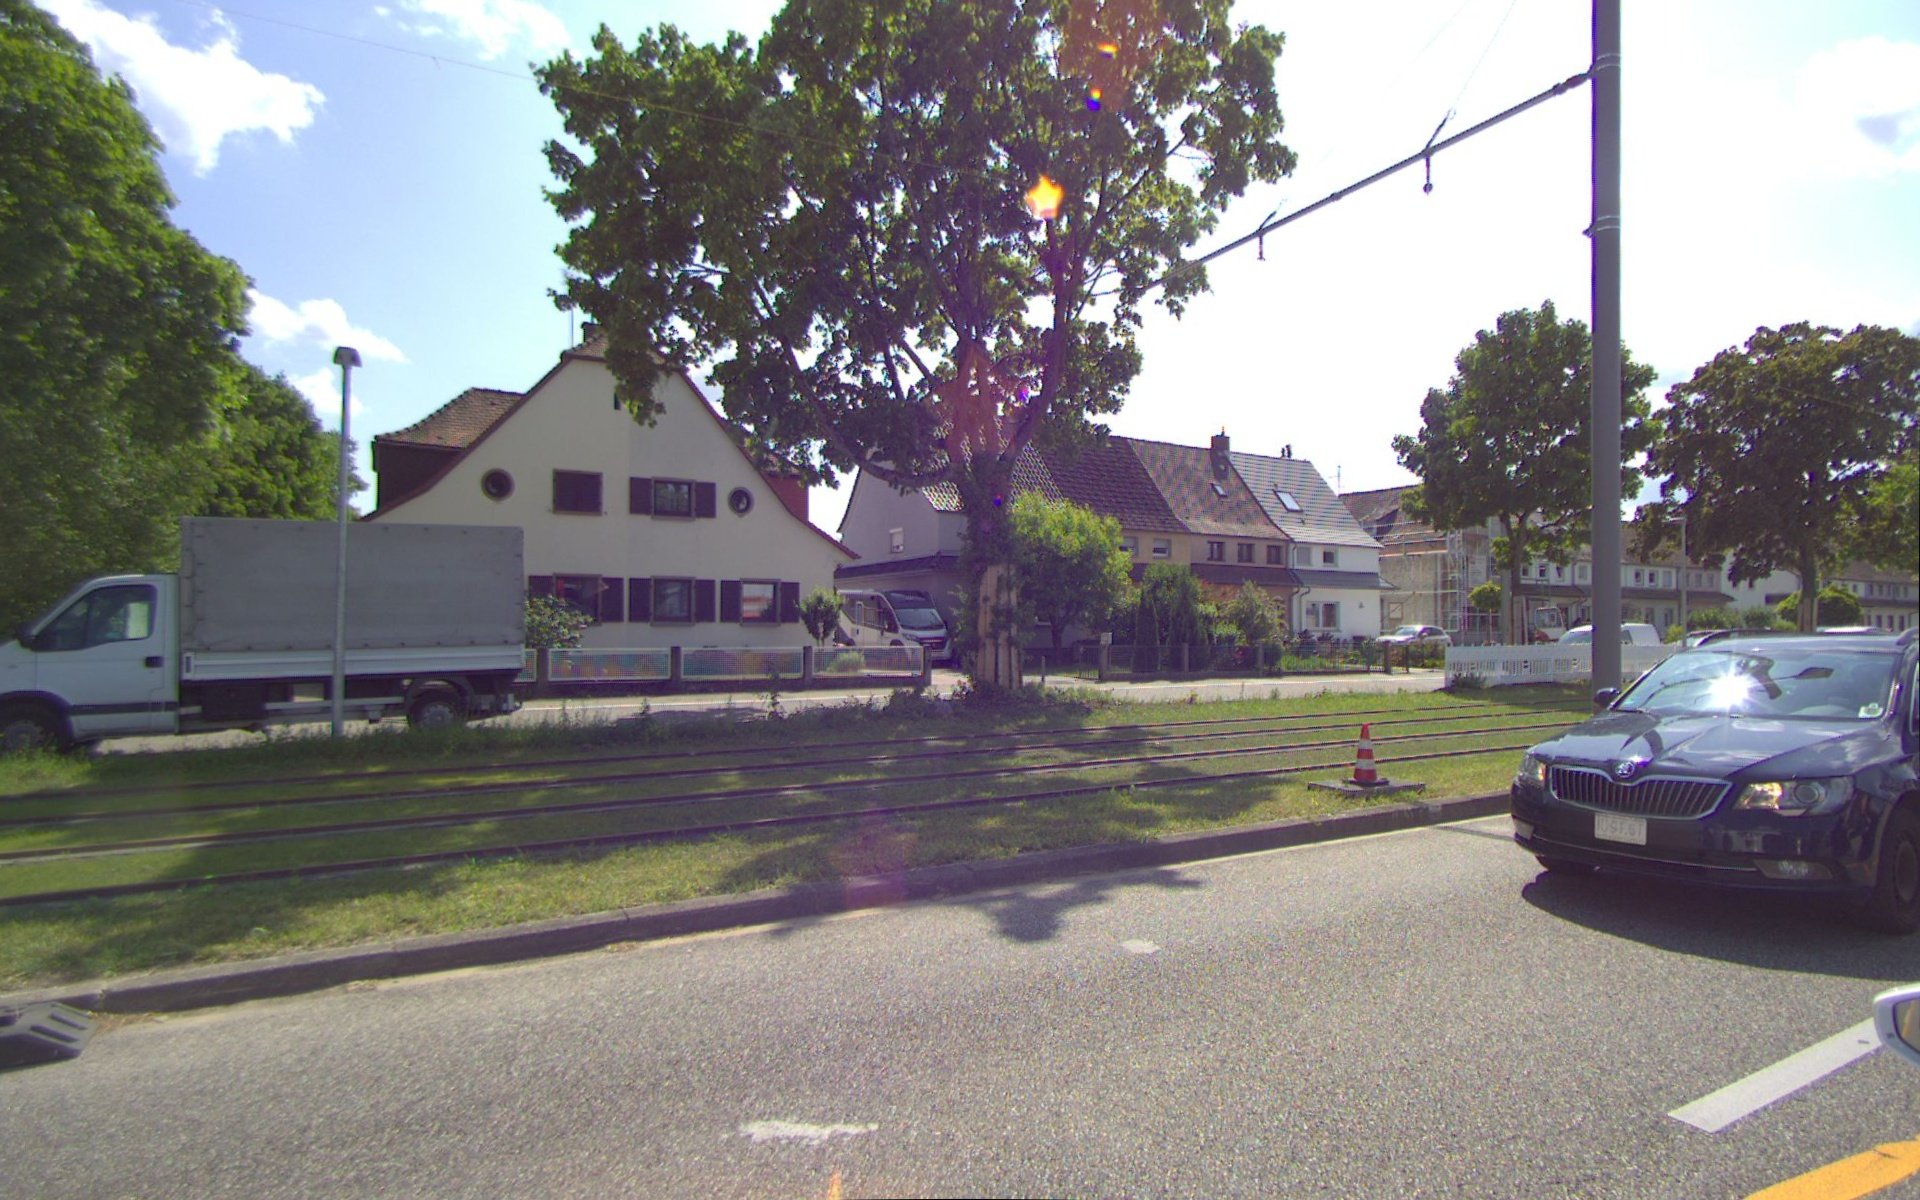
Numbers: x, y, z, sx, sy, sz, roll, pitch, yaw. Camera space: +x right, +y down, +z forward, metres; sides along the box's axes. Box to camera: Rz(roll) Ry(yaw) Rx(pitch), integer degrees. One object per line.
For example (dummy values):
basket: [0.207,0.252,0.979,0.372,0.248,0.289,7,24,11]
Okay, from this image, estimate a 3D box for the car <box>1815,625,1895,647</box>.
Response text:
car: [64.373,2.587,72.285,1.706,1.529,3.966,1,-2,-31]

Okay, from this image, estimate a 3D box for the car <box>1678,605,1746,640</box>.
car: [46.305,1.413,61.851,3.954,2.040,1.983,2,0,-31]

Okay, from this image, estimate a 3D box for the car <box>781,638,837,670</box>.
car: [-6.562,2.321,43.448,1.330,1.189,2.846,2,0,-33]

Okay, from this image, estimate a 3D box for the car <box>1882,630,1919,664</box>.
car: [40.492,1.994,42.473,3.078,1.395,1.344,2,-3,-31]

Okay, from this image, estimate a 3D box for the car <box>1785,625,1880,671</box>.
car: [33.502,1.847,38.547,3.854,1.673,1.615,2,-3,-31]

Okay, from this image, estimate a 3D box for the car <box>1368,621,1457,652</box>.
car: [20.036,1.643,44.434,4.072,1.291,1.527,2,-3,-31]

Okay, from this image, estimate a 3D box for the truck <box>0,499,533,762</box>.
truck: [-8.895,0.386,13.070,5.882,2.842,2.353,2,0,-30]

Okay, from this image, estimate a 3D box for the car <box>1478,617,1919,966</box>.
car: [5.347,0.905,6.290,4.476,1.506,1.702,1,-3,-32]

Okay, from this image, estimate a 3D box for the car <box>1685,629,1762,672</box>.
car: [25.246,1.679,33.206,2.417,1.365,1.069,2,-3,-27]

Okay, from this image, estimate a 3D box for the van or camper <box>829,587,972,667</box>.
van or camper: [-2.314,0.893,36.708,2.472,2.667,6.299,2,0,-32]

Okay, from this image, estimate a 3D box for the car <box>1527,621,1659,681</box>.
car: [18.565,1.486,29.411,3.954,1.647,1.645,2,-3,-31]
